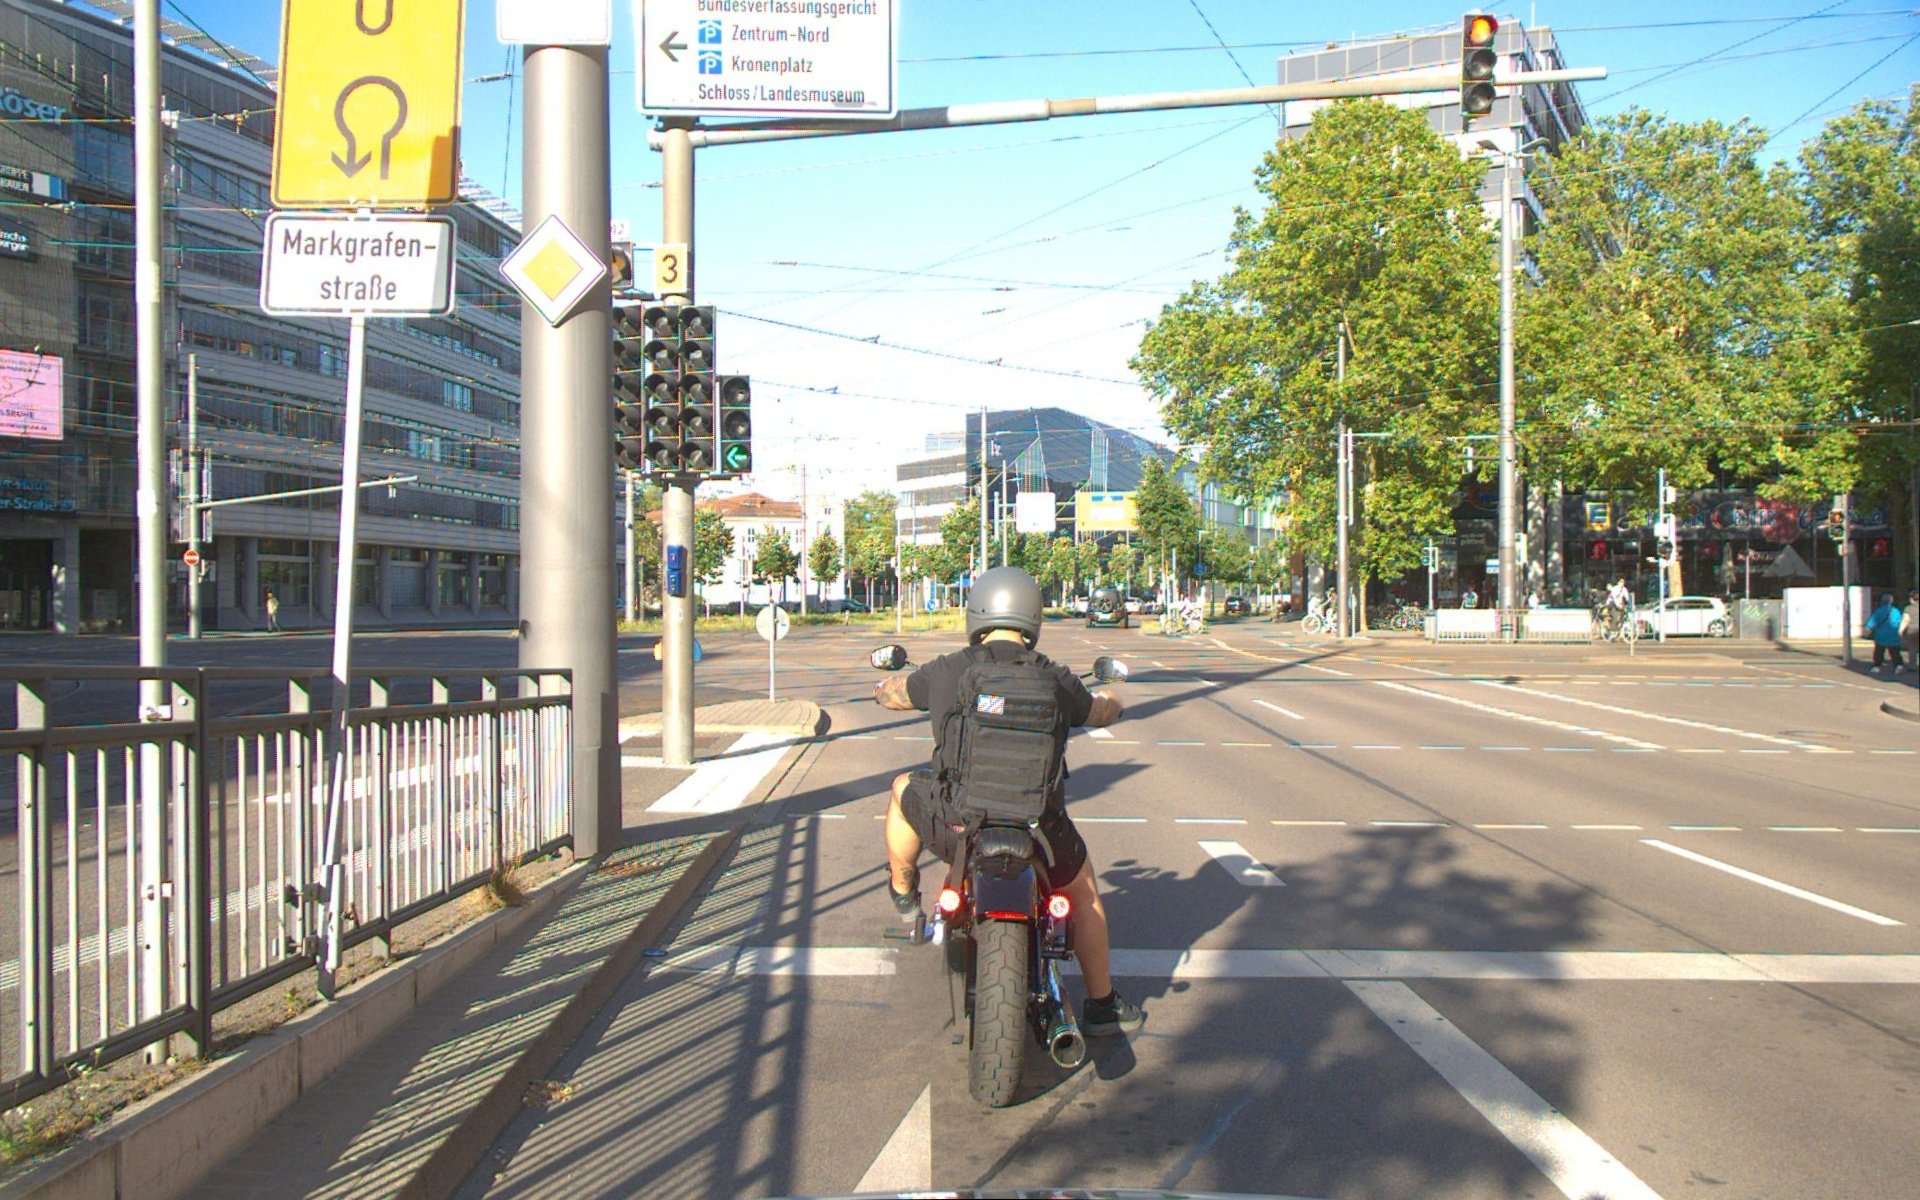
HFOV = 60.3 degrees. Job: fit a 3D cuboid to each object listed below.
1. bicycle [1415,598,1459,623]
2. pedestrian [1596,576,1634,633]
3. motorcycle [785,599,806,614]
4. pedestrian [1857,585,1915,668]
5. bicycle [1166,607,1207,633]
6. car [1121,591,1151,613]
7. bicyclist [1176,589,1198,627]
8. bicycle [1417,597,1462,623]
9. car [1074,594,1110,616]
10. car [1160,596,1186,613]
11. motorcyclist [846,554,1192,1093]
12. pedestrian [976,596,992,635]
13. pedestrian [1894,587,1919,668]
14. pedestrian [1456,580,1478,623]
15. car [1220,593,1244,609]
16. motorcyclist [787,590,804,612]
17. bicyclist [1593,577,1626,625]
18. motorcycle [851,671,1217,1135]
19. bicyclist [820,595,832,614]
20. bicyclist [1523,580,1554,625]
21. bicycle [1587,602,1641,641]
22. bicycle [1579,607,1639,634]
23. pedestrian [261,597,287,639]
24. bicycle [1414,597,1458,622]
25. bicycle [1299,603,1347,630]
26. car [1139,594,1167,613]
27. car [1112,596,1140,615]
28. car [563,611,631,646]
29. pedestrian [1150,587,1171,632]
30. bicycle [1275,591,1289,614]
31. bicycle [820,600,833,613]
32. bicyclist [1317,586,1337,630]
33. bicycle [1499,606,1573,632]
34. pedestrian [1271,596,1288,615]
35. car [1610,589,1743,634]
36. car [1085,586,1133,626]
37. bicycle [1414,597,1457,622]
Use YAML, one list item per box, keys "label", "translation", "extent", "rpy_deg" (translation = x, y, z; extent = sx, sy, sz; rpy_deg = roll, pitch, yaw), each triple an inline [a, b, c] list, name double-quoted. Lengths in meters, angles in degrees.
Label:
- label: "bicycle"
  translation: [19.234, 0.433, 66.664]
  extent: [1.668, 1.003, 0.391]
  rpy_deg: [0, 0, 13]
- label: "pedestrian"
  translation: [18.851, 0.135, 47.606]
  extent: [0.754, 1.622, 0.838]
  rpy_deg: [1, -1, -1]
- label: "motorcycle"
  translation: [-13.659, 0.516, 137.256]
  extent: [0.962, 1.253, 2.945]
  rpy_deg: [0, 0, 10]
- label: "pedestrian"
  translation: [17.923, 0.511, 32.032]
  extent: [0.662, 1.566, 0.741]
  rpy_deg: [1, -1, -8]
- label: "bicycle"
  translation: [9.217, 0.813, 67.298]
  extent: [1.594, 1.039, 0.516]
  rpy_deg: [-1, -1, 23]
- label: "car"
  translation: [15.067, 0.165, 141.618]
  extent: [1.781, 1.849, 3.946]
  rpy_deg: [0, 0, 17]
- label: "bicyclist"
  translation: [9.231, 0.320, 67.287]
  extent: [0.727, 1.529, 0.570]
  rpy_deg: [-1, -1, 23]
- label: "bicycle"
  translation: [19.082, 0.395, 65.816]
  extent: [1.668, 1.003, 0.391]
  rpy_deg: [0, 0, 13]
- label: "car"
  translation: [9.851, 0.380, 123.117]
  extent: [1.861, 1.534, 4.002]
  rpy_deg: [1, 0, 17]
- label: "car"
  translation: [20.122, 0.431, 156.478]
  extent: [1.684, 1.510, 3.755]
  rpy_deg: [0, 0, 19]
- label: "motorcyclist"
  translation: [0.167, 0.660, 5.538]
  extent: [1.001, 1.579, 1.286]
  rpy_deg: [1, 0, -1]
- label: "pedestrian"
  translation: [1.015, 0.627, 69.030]
  extent: [0.643, 1.610, 0.489]
  rpy_deg: [0, 0, 3]
- label: "pedestrian"
  translation: [18.770, 0.542, 32.260]
  extent: [0.638, 1.566, 0.741]
  rpy_deg: [1, -1, -8]
- label: "pedestrian"
  translation: [22.731, 0.069, 74.197]
  extent: [0.829, 1.884, 0.810]
  rpy_deg: [2, 0, 14]
- label: "car"
  translation: [26.613, 0.144, 161.841]
  extent: [1.803, 1.490, 4.002]
  rpy_deg: [1, 0, 17]
- label: "motorcyclist"
  translation: [-13.639, 0.068, 137.378]
  extent: [0.997, 1.761, 1.462]
  rpy_deg: [0, 0, 10]
- label: "bicyclist"
  translation: [22.391, 0.044, 57.034]
  extent: [0.906, 1.643, 0.638]
  rpy_deg: [0, 0, 3]
- label: "motorcycle"
  translation: [0.186, 0.882, 5.688]
  extent: [0.985, 1.145, 2.323]
  rpy_deg: [1, 0, -1]
- label: "bicyclist"
  translation: [-11.849, 0.364, 146.438]
  extent: [0.748, 1.696, 0.994]
  rpy_deg: [0, 0, 18]
- label: "bicyclist"
  translation: [25.475, 0.120, 72.847]
  extent: [1.200, 1.965, 0.836]
  rpy_deg: [0, 0, 11]
- label: "bicycle"
  translation: [18.823, 0.607, 47.658]
  extent: [0.773, 1.070, 1.922]
  rpy_deg: [1, 0, -1]
- label: "bicycle"
  translation: [22.383, 0.699, 57.045]
  extent: [1.814, 0.926, 0.652]
  rpy_deg: [0, 0, 3]
- label: "pedestrian"
  translation: [-31.048, 0.822, 74.878]
  extent: [0.660, 1.855, 0.886]
  rpy_deg: [-2, -1, 12]
- label: "bicycle"
  translation: [19.442, 0.398, 67.577]
  extent: [1.668, 1.003, 0.391]
  rpy_deg: [0, 0, 13]
- label: "bicycle"
  translation: [14.351, 0.665, 65.405]
  extent: [1.813, 1.039, 0.517]
  rpy_deg: [-1, -1, 11]
- label: "car"
  translation: [17.380, 0.300, 148.721]
  extent: [1.684, 1.686, 3.755]
  rpy_deg: [0, 0, 19]
- label: "car"
  translation: [13.761, 0.418, 136.997]
  extent: [1.736, 1.541, 3.735]
  rpy_deg: [0, 0, 16]
- label: "car"
  translation: [-17.184, 1.322, 78.515]
  extent: [1.753, 1.491, 4.315]
  rpy_deg: [-1, 1, 8]
- label: "pedestrian"
  translation: [8.411, 0.408, 69.394]
  extent: [0.688, 1.869, 0.513]
  rpy_deg: [1, -1, 35]
- label: "bicycle"
  translation: [22.085, 0.162, 113.424]
  extent: [0.842, 1.507, 2.578]
  rpy_deg: [0, 0, 14]
- label: "bicycle"
  translation: [-11.823, 0.585, 146.445]
  extent: [0.629, 1.127, 1.686]
  rpy_deg: [0, 0, 17]
- label: "bicyclist"
  translation: [14.509, 0.320, 65.361]
  extent: [0.727, 1.724, 0.570]
  rpy_deg: [-1, -1, 10]
- label: "bicycle"
  translation: [25.362, 0.815, 72.860]
  extent: [2.976, 1.133, 0.836]
  rpy_deg: [0, 0, 11]
- label: "pedestrian"
  translation: [17.554, 0.302, 90.920]
  extent: [0.768, 1.075, 0.814]
  rpy_deg: [0, 0, 22]
- label: "car"
  translation: [25.458, 0.395, 58.850]
  extent: [3.903, 1.512, 2.001]
  rpy_deg: [1, 0, 4]
- label: "car"
  translation: [7.546, 0.306, 83.520]
  extent: [2.009, 1.906, 4.230]
  rpy_deg: [1, 0, 11]
- label: "bicycle"
  translation: [19.561, 0.391, 68.040]
  extent: [1.668, 1.003, 0.391]
  rpy_deg: [0, 0, 13]
